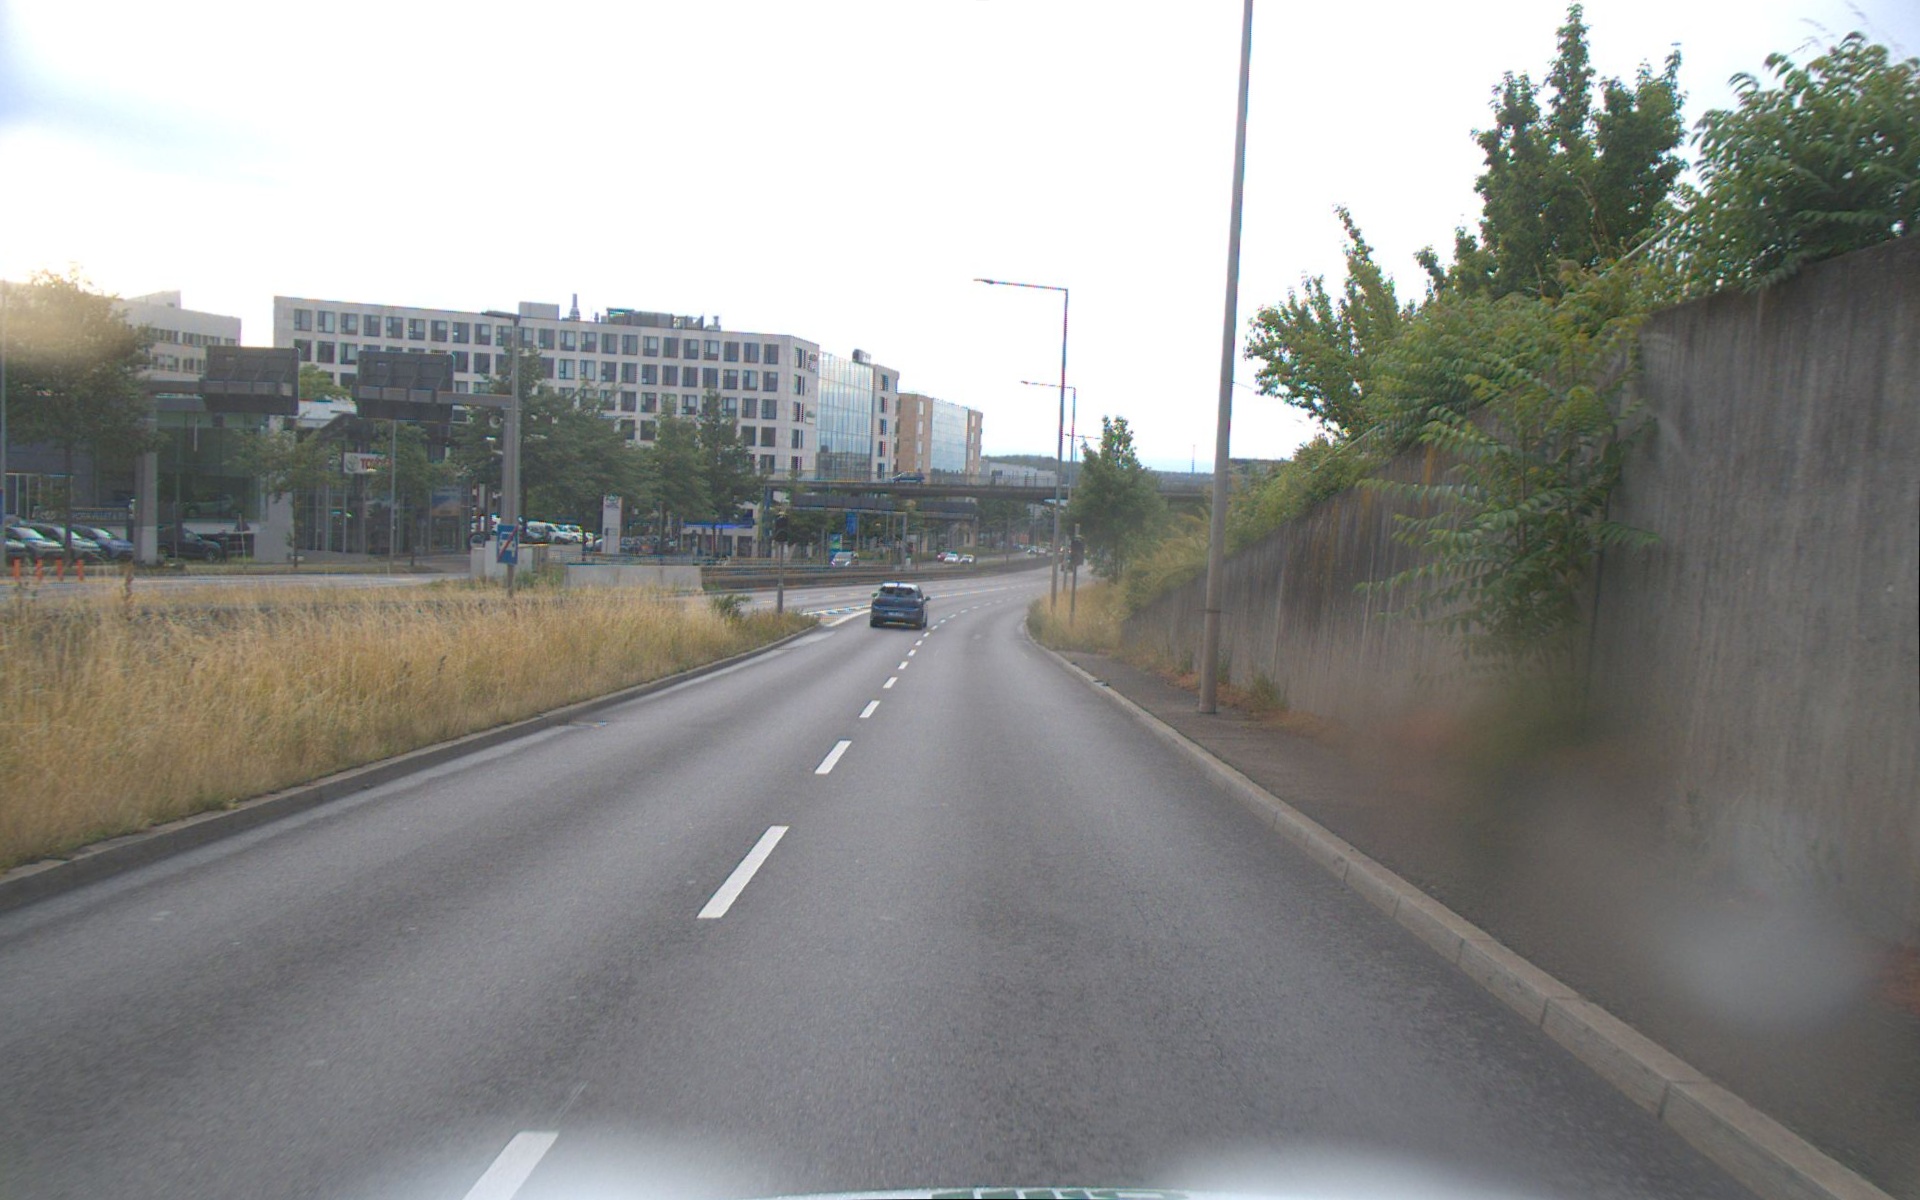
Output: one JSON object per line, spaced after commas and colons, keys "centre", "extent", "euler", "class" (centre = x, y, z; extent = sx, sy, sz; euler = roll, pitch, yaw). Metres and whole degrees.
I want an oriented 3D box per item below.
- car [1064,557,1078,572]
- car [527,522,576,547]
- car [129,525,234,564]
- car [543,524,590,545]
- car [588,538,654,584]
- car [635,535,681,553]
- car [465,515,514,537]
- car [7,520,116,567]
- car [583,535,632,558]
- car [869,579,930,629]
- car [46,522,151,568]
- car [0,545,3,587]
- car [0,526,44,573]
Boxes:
{"centre": [15.813, -5.136, 236.319], "extent": [1.824, 1.779, 4.004], "euler": [5, 5, 4], "class": "car"}
{"centre": [-38.484, -6.189, 155.871], "extent": [3.904, 1.907, 2.002], "euler": [6, 4, 13], "class": "car"}
{"centre": [-38.741, -2.770, 82.394], "extent": [1.881, 1.712, 4.499], "euler": [7, 5, 26], "class": "car"}
{"centre": [-38.328, -6.412, 161.287], "extent": [3.904, 1.678, 2.002], "euler": [6, 5, 13], "class": "car"}
{"centre": [-14.227, -1.655, 69.565], "extent": [1.652, 1.617, 3.553], "euler": [5, 5, 6], "class": "car"}
{"centre": [-29.160, -5.419, 159.568], "extent": [3.904, 1.377, 1.851], "euler": [5, 2, 10], "class": "car"}
{"centre": [-44.196, -6.955, 155.316], "extent": [3.904, 1.678, 2.002], "euler": [5, 4, 6], "class": "car"}
{"centre": [-40.419, -2.563, 74.438], "extent": [3.904, 1.712, 1.926], "euler": [5, 4, 8], "class": "car"}
{"centre": [-31.356, -4.746, 147.197], "extent": [3.932, 1.679, 1.988], "euler": [4, 2, -23], "class": "car"}
{"centre": [-1.989, 0.102, 55.048], "extent": [1.712, 1.444, 3.481], "euler": [0, 3, 3], "class": "car"}
{"centre": [-39.954, -2.559, 76.736], "extent": [3.904, 1.712, 1.926], "euler": [5, 4, 8], "class": "car"}
{"centre": [-41.427, -1.498, 67.337], "extent": [3.904, 1.712, 1.926], "euler": [5, 4, 8], "class": "car"}
{"centre": [-41.033, -2.213, 69.625], "extent": [3.904, 1.712, 1.926], "euler": [5, 4, 8], "class": "car"}
